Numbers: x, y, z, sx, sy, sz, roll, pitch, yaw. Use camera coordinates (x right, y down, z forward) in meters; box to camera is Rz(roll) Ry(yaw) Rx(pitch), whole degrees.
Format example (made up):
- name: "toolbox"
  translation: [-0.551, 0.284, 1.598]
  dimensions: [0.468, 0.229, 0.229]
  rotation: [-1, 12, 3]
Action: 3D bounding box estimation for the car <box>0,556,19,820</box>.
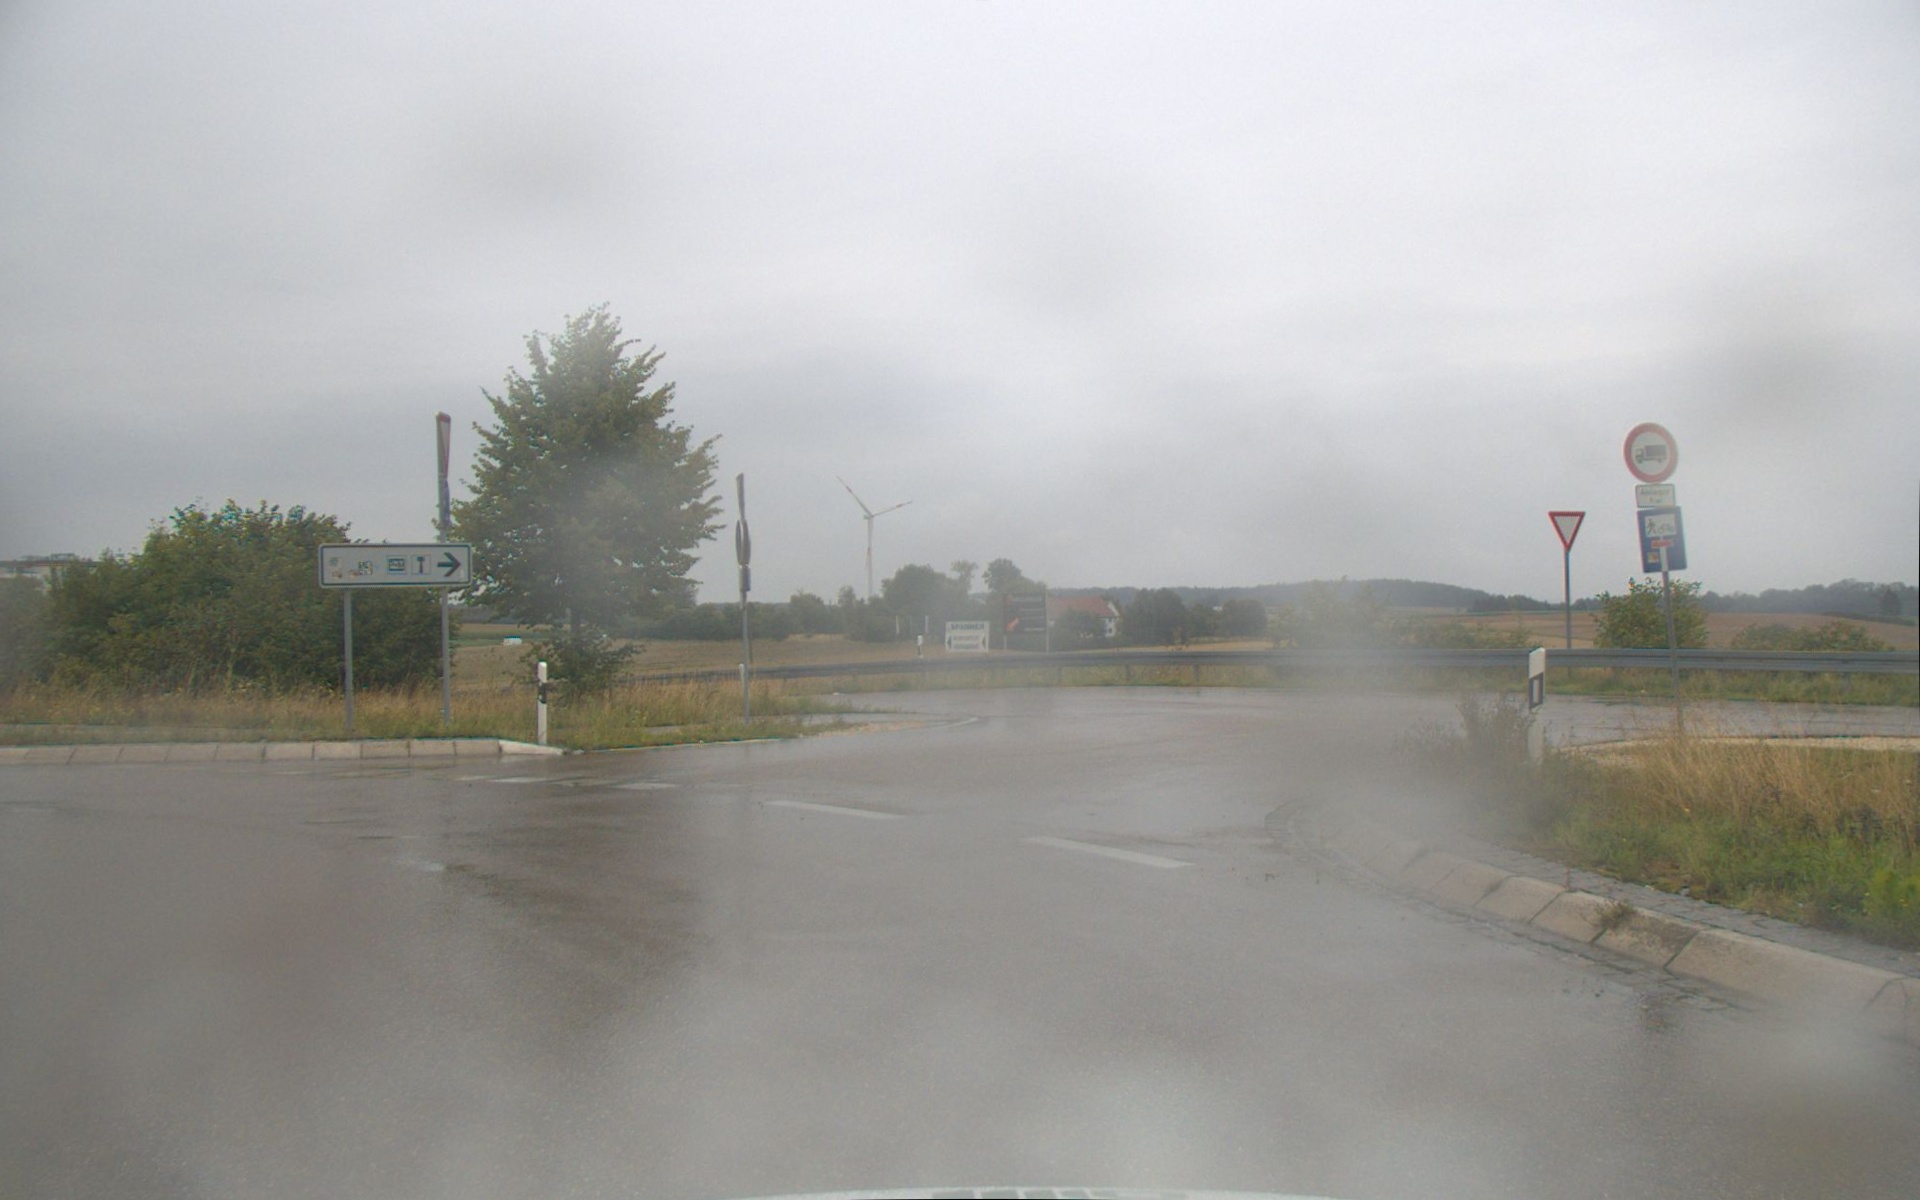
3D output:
- name: "car"
  translation: [-9.428, 0.665, 12.517]
  dimensions: [4.874, 1.903, 1.995]
  rotation: [0, 1, 33]
